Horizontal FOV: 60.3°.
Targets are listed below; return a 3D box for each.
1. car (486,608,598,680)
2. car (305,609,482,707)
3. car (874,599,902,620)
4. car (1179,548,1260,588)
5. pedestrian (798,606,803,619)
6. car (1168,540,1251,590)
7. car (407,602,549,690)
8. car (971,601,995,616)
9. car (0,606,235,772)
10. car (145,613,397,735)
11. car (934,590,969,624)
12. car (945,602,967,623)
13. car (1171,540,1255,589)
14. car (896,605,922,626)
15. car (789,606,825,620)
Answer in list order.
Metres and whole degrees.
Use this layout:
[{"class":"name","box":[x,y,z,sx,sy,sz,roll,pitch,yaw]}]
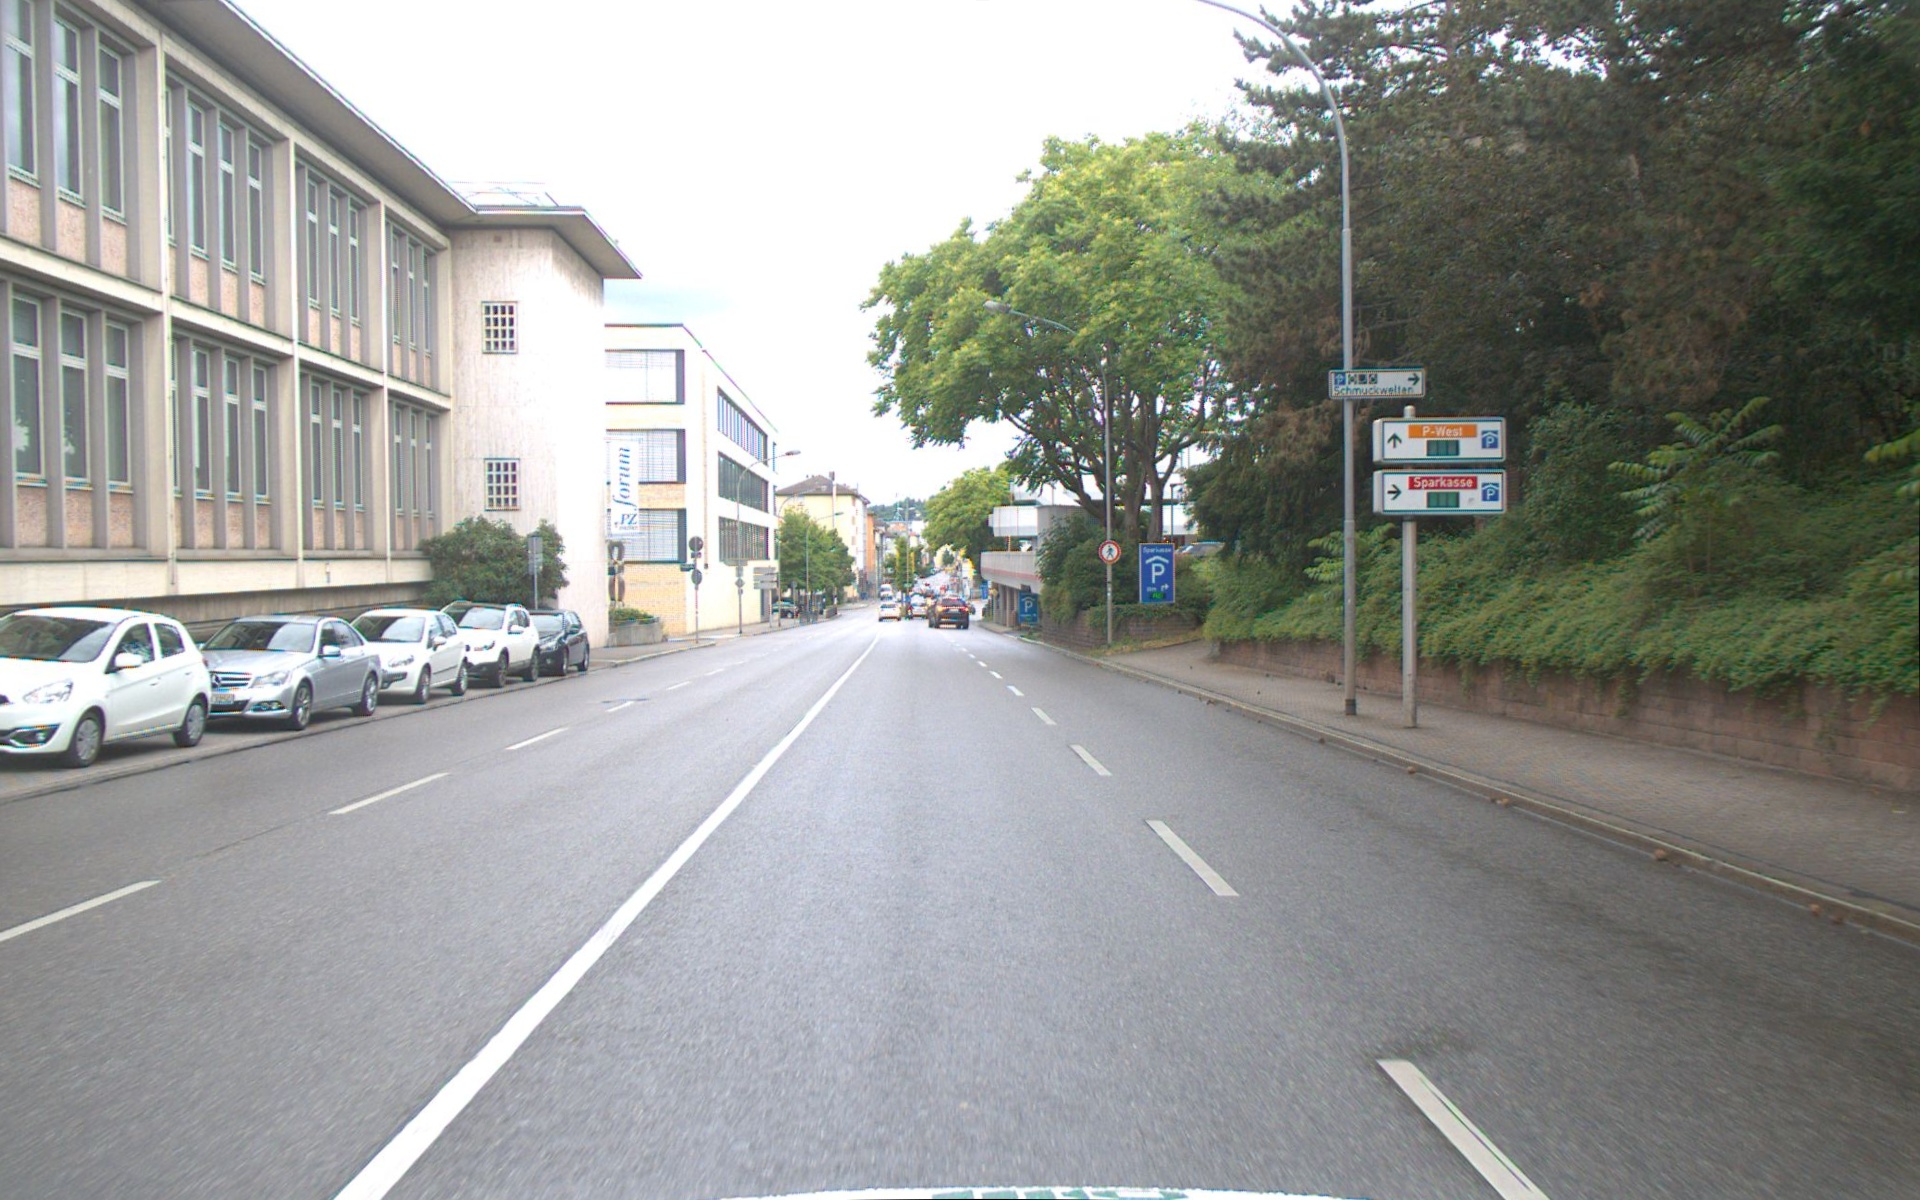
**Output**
[{"class":"car","box":[-9.680,0.983,38.576,1.713,1.506,4.179,1,0,-3]},{"class":"car","box":[-9.504,0.921,28.080,1.713,1.479,4.179,1,0,-3]},{"class":"car","box":[-5.912,0.744,135.393,1.955,1.709,3.994,0,0,-6]},{"class":"car","box":[11.644,-1.440,74.383,3.545,1.736,1.642,0,0,6]},{"class":"pedestrian","box":[-15.277,1.198,158.529,0.444,1.301,0.454,0,0,9]},{"class":"car","box":[10.397,-1.444,69.107,3.377,2.049,1.655,0,0,6]},{"class":"car","box":[-9.638,0.872,33.392,1.713,1.625,4.180,1,0,-2]},{"class":"car","box":[2.632,0.957,185.468,1.951,1.709,4.003,0,0,12]},{"class":"car","box":[-9.300,0.841,17.459,1.645,1.549,3.919,0,0,-2]},{"class":"car","box":[-9.251,0.927,22.622,1.713,1.460,4.483,1,0,-3]},{"class":"car","box":[-0.516,0.412,97.148,2.049,1.944,4.099,0,0,-1]},{"class":"car","box":[-0.369,1.203,161.454,2.129,2.039,3.999,0,0,-1]},{"class":"car","box":[10.981,-1.533,71.946,3.508,2.049,1.597,0,0,6]},{"class":"car","box":[-4.428,1.321,143.335,1.955,1.709,3.994,0,0,-6]},{"class":"car","box":[-15.144,1.289,163.623,3.585,1.256,1.439,1,0,-8]}]
